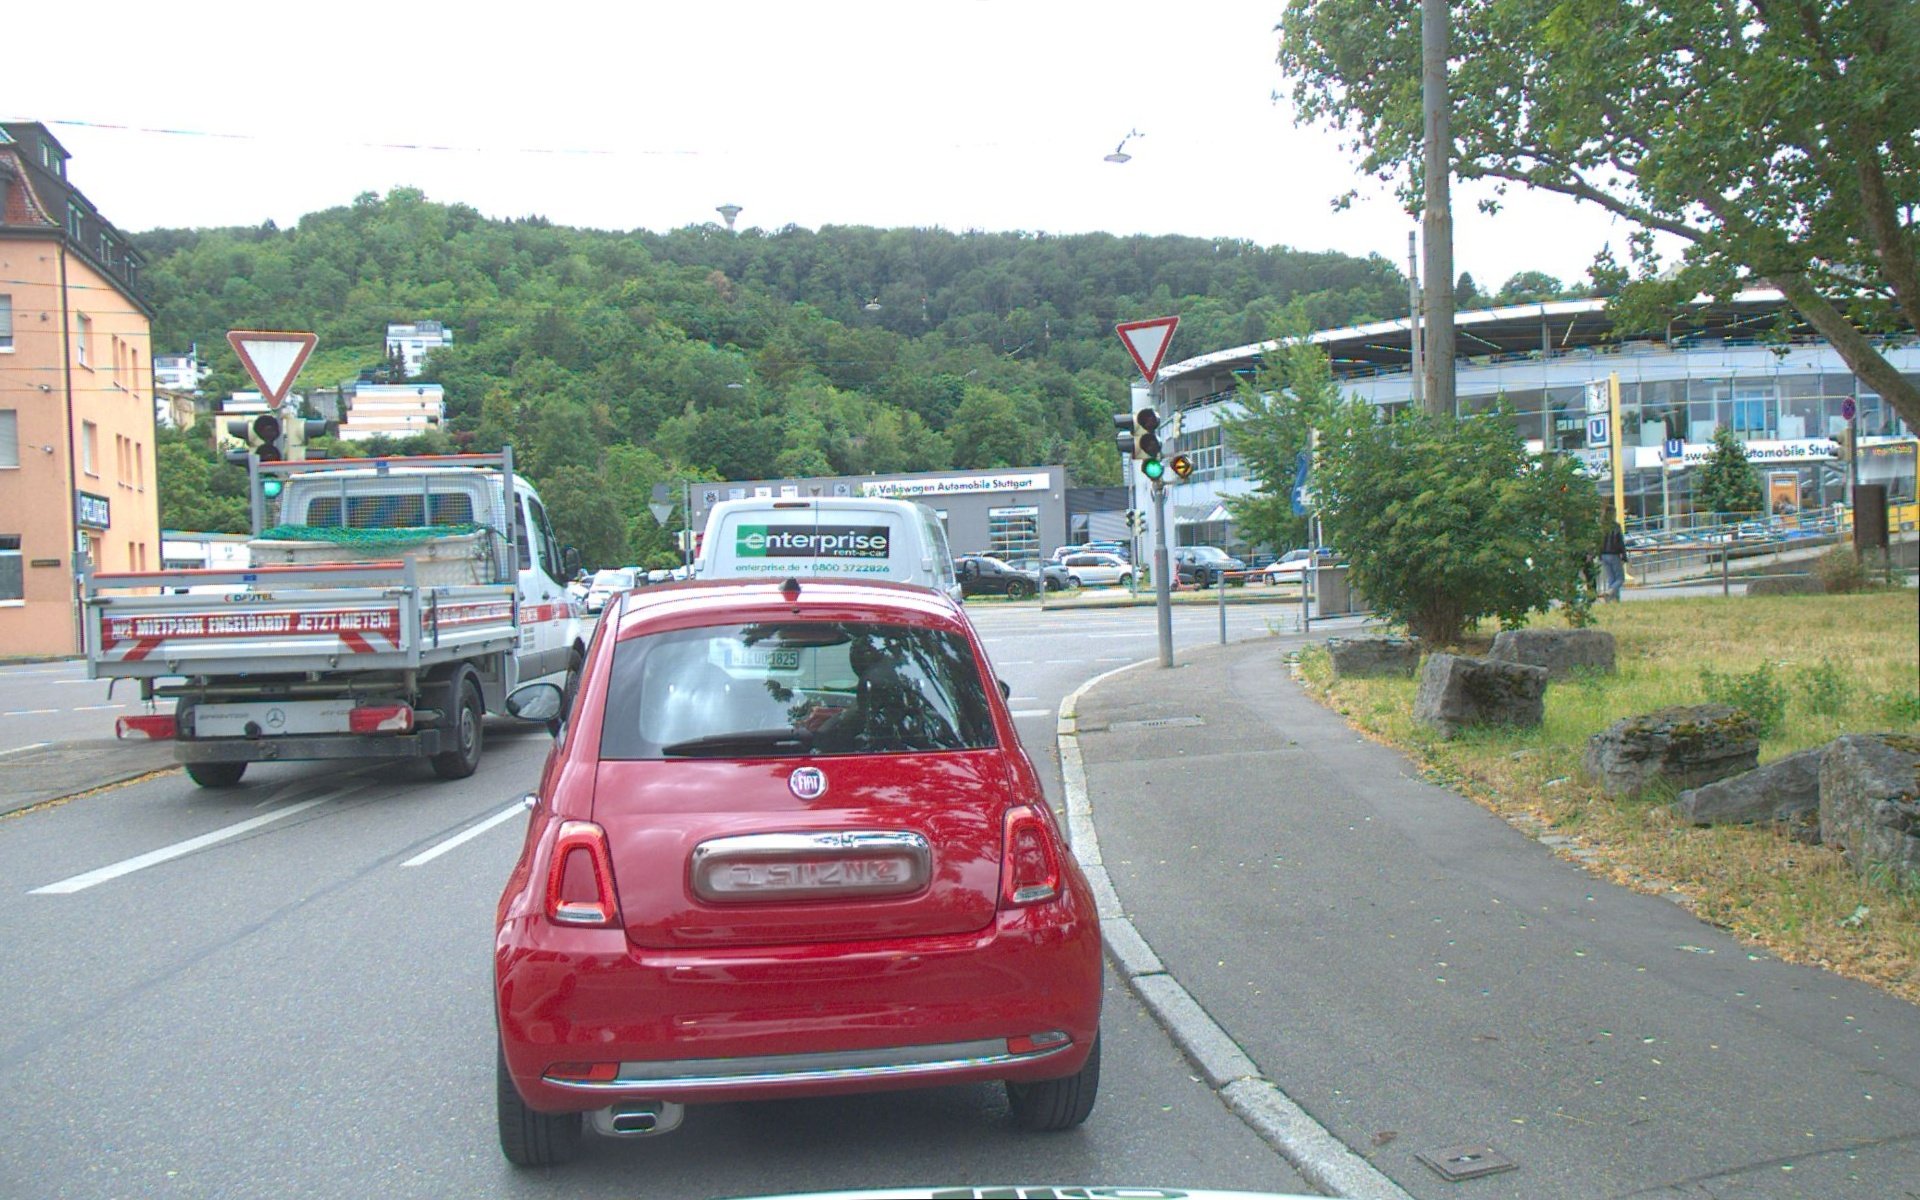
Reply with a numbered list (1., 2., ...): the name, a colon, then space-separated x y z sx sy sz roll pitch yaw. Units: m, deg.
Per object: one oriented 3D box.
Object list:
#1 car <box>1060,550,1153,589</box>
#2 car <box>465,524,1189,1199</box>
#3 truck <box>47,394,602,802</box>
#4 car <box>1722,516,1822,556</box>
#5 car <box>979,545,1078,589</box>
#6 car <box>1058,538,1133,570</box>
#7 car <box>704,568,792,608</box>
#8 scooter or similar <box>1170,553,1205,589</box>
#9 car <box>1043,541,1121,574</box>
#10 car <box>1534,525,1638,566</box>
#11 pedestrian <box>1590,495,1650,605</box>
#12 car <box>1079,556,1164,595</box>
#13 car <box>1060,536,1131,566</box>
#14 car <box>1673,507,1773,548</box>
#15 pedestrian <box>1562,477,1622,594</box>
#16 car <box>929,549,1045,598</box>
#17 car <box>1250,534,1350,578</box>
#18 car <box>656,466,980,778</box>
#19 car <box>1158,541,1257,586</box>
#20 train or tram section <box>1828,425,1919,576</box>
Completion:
1. car: 7.144 -1.489 80.953 4.403 1.759 2.000 1 0 1
2. car: -0.552 0.577 5.858 1.666 1.551 3.993 1 1 -8
3. truck: -4.587 -0.079 13.196 2.267 2.463 5.653 -2 1 -2
4. car: 36.593 -2.865 74.650 1.890 1.581 3.981 1 0 -17
5. car: 2.874 -1.369 69.918 3.912 1.736 1.997 1 0 -8
6. car: 8.202 -2.775 100.320 4.403 1.759 2.000 1 0 1
7. car: -11.427 -0.639 89.190 4.403 2.032 2.000 1 0 1
8. scooter or similar: 8.516 -1.084 61.932 1.176 1.310 0.575 1 -1 -3
9. car: 7.068 -2.444 96.004 4.403 1.759 2.000 1 0 1
10. car: 26.933 -2.324 71.230 1.897 1.581 3.968 -4 2 -25
11. pedestrian: 10.595 -0.791 26.549 0.660 1.719 0.601 1 -1 -20
12. car: 8.712 -1.314 89.604 4.403 2.032 2.000 1 0 1
13. car: 8.623 -3.115 105.487 4.403 1.759 2.000 1 0 1
14. car: 34.028 -3.198 73.864 1.891 1.581 3.981 -3 1 -17
15. pedestrian: 10.399 -1.058 27.227 0.660 1.900 0.601 -2 0 -20
16. car: 1.022 -1.006 61.307 3.902 1.668 2.002 1 4 15
17. car: 13.676 -1.744 66.657 1.968 1.668 3.968 1 0 -25
18. car: -0.942 0.045 13.605 1.957 2.075 4.835 1 2 3
19. car: 9.654 -1.423 64.782 1.969 1.668 3.968 -2 1 -25
20. train or tram section: 30.814 -3.053 48.223 11.709 4.035 2.731 -4 1 -22
